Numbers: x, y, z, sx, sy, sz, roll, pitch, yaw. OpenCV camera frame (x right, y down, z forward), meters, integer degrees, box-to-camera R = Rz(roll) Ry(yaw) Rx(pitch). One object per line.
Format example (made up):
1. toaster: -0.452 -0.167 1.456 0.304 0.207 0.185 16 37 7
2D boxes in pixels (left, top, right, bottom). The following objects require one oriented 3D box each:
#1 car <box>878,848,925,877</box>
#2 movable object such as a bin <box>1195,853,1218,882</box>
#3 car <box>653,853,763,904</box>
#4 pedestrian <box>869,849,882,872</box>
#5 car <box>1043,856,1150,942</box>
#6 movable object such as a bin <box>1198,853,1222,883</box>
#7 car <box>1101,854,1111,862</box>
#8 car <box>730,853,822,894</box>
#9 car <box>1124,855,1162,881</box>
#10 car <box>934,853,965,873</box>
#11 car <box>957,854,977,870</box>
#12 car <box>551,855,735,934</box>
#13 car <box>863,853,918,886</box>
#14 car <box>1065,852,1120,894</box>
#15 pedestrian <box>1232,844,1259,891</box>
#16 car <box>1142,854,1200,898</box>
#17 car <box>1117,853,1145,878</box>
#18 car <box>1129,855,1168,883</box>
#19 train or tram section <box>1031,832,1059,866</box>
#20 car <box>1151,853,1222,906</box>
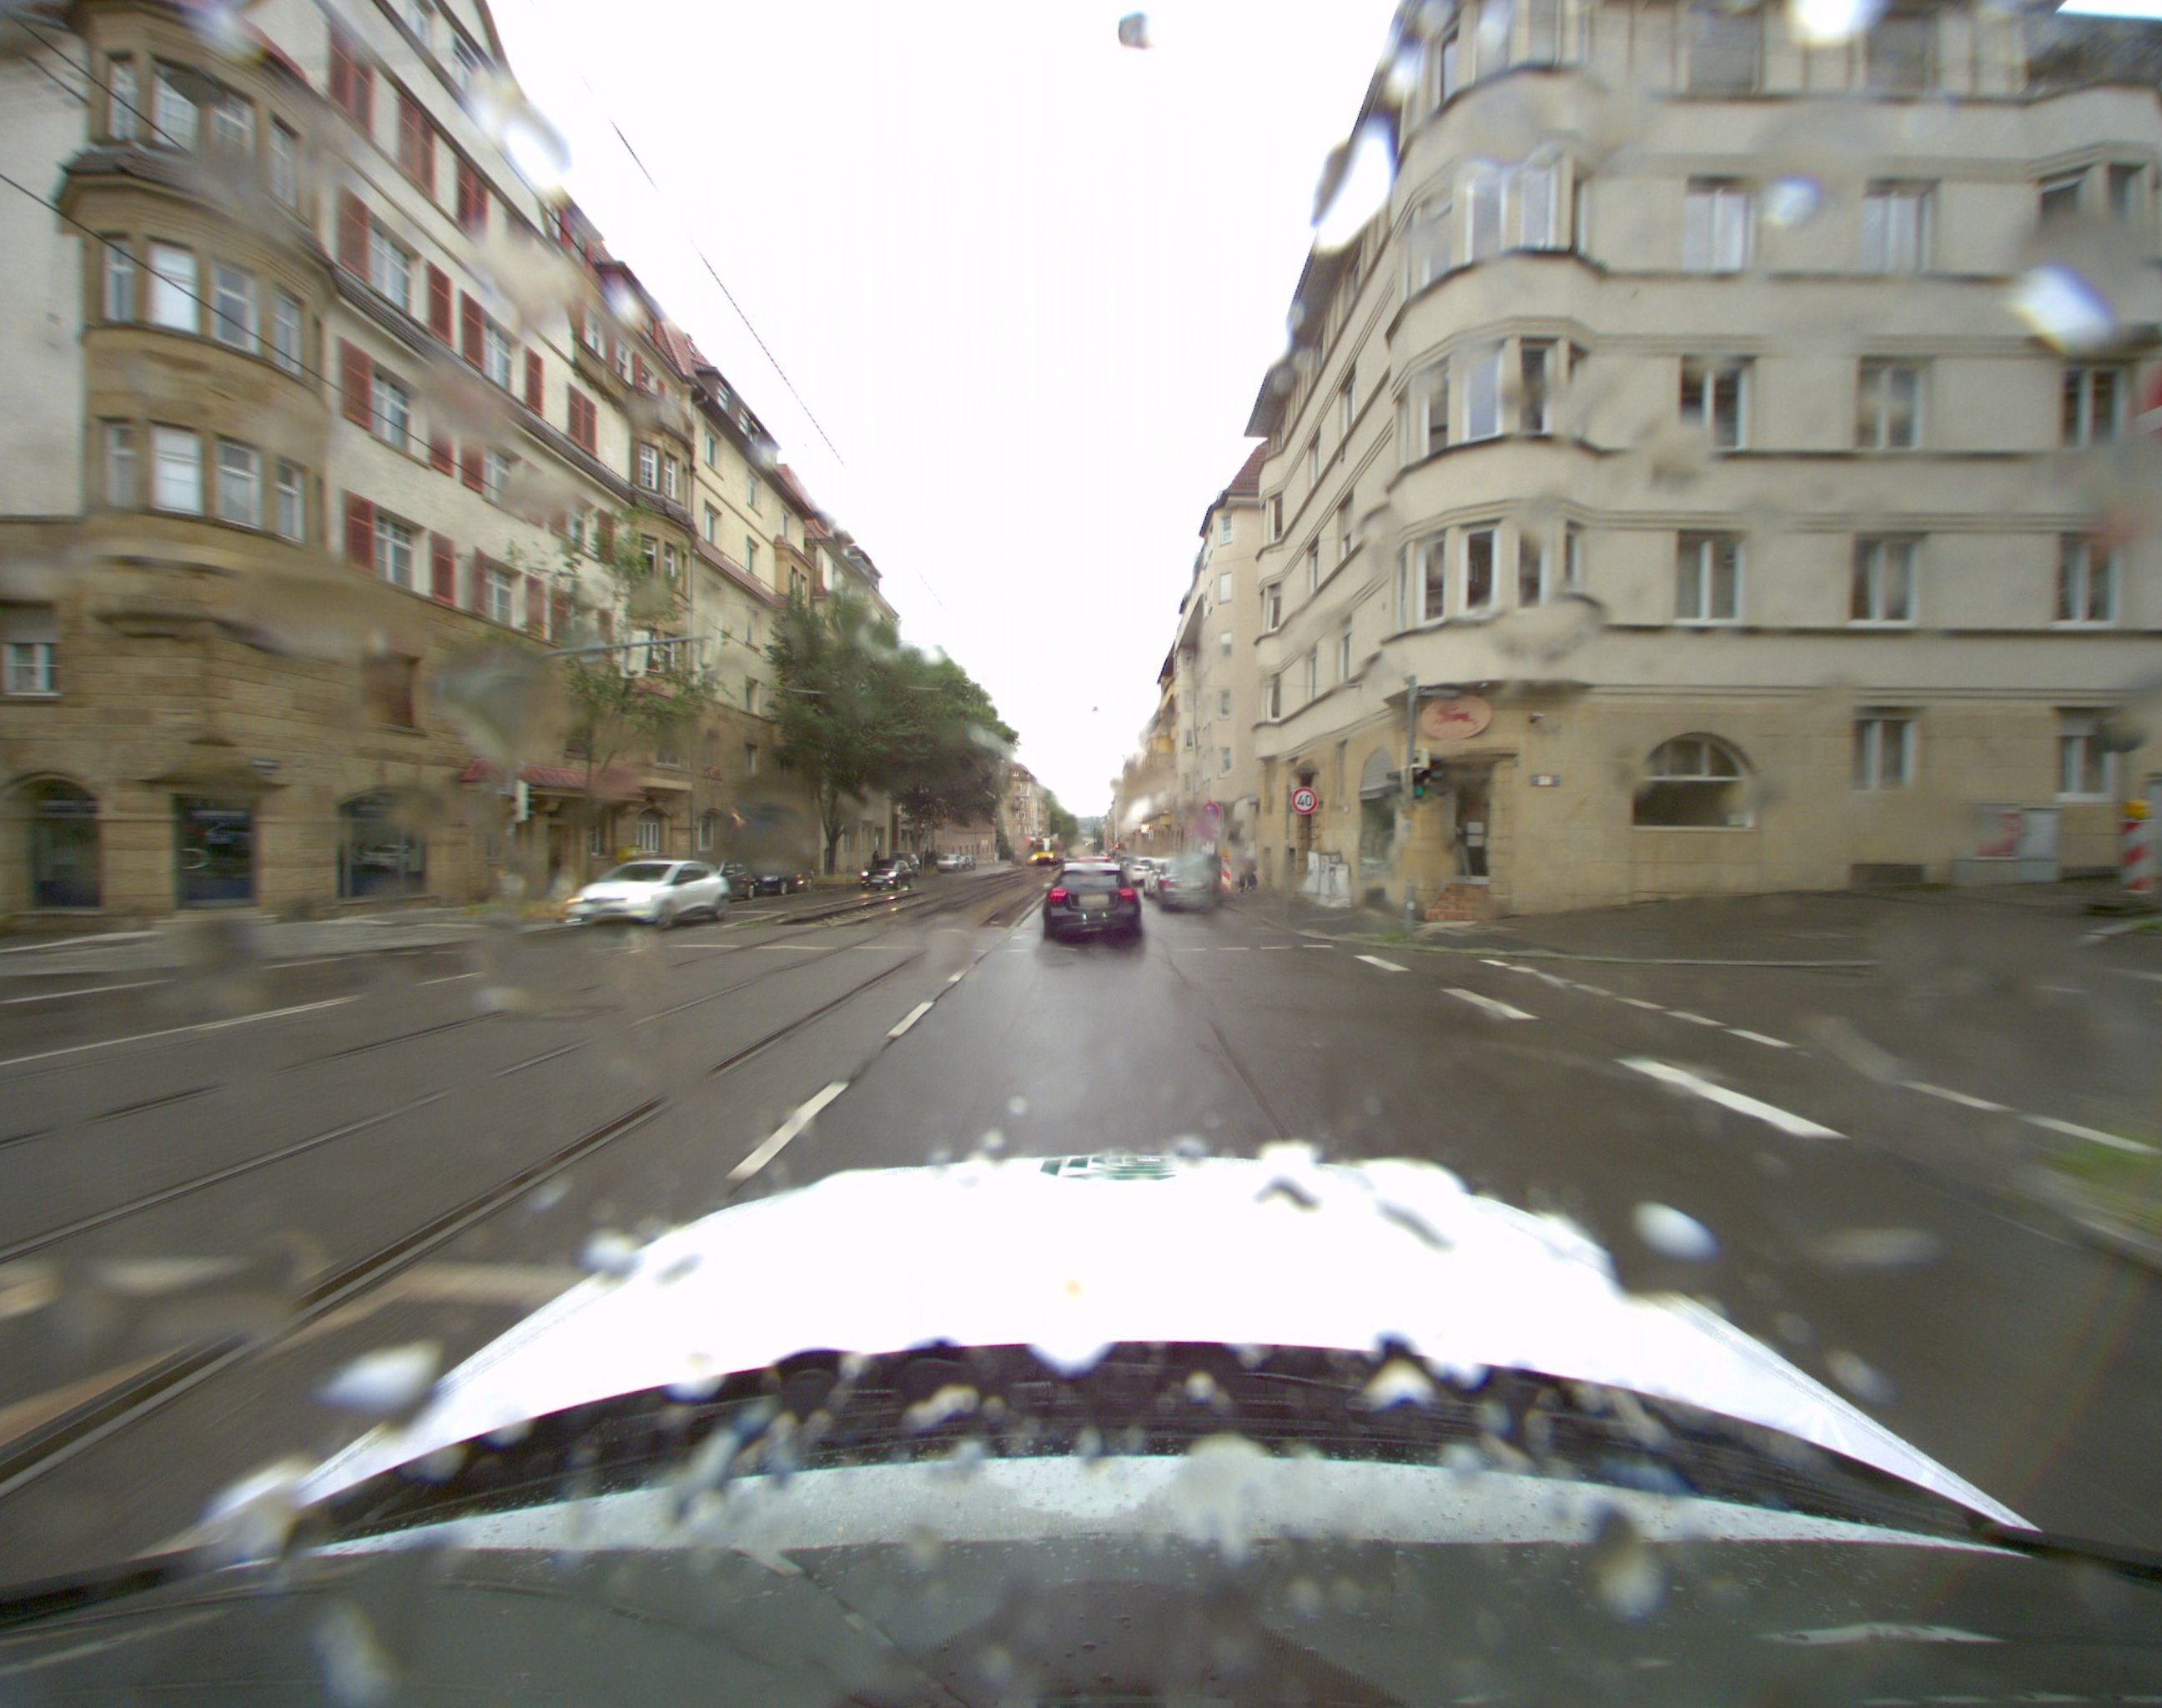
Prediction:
1. car: -11.671 0.523 53.172 1.947 1.742 4.778 3 0 0
2. movable object such as a bin: 6.476 0.716 42.013 1.014 1.468 1.323 0 -1 0
3. car: -12.080 0.767 26.658 1.684 1.529 4.174 0 -1 0
4. pedestrian: -14.906 0.456 59.210 0.726 1.663 0.771 0 0 0
5. car: 0.317 0.781 15.872 1.828 1.453 3.902 0 0 1
6. movable object such as a bin: 6.421 0.695 40.517 0.976 1.468 1.272 0 -1 0
7. car: 4.780 0.696 154.244 1.879 1.525 4.248 1 0 3
8. car: -11.926 0.747 32.214 1.775 1.460 4.977 0 -1 0
9. car: 3.577 0.814 47.434 1.827 1.468 4.373 0 -1 -1
10. car: -11.347 0.730 70.369 1.955 1.605 4.328 1 0 0
11. car: -11.085 0.761 79.261 1.567 1.467 3.044 1 0 0
12. car: -9.236 0.808 17.612 1.775 1.503 4.061 0 -1 0
13. car: -8.831 0.693 38.016 1.648 1.463 3.733 -1 0 0
14. car: 0.460 0.704 31.894 1.986 1.525 4.246 1 0 1
15. pedestrian: 6.026 0.489 29.852 0.801 1.687 0.754 0 -1 0
16. car: 3.207 0.768 29.703 1.706 1.468 4.775 0 -1 1
17. car: 3.407 0.767 55.361 1.833 1.608 4.764 0 -1 3
18. car: 3.482 0.763 42.765 1.783 1.385 4.395 0 -1 1
19. train or tram section: -4.555 -0.630 107.024 2.736 4.062 17.213 0 0 0
20. car: 3.047 0.715 24.337 1.704 1.410 4.820 0 -1 3
